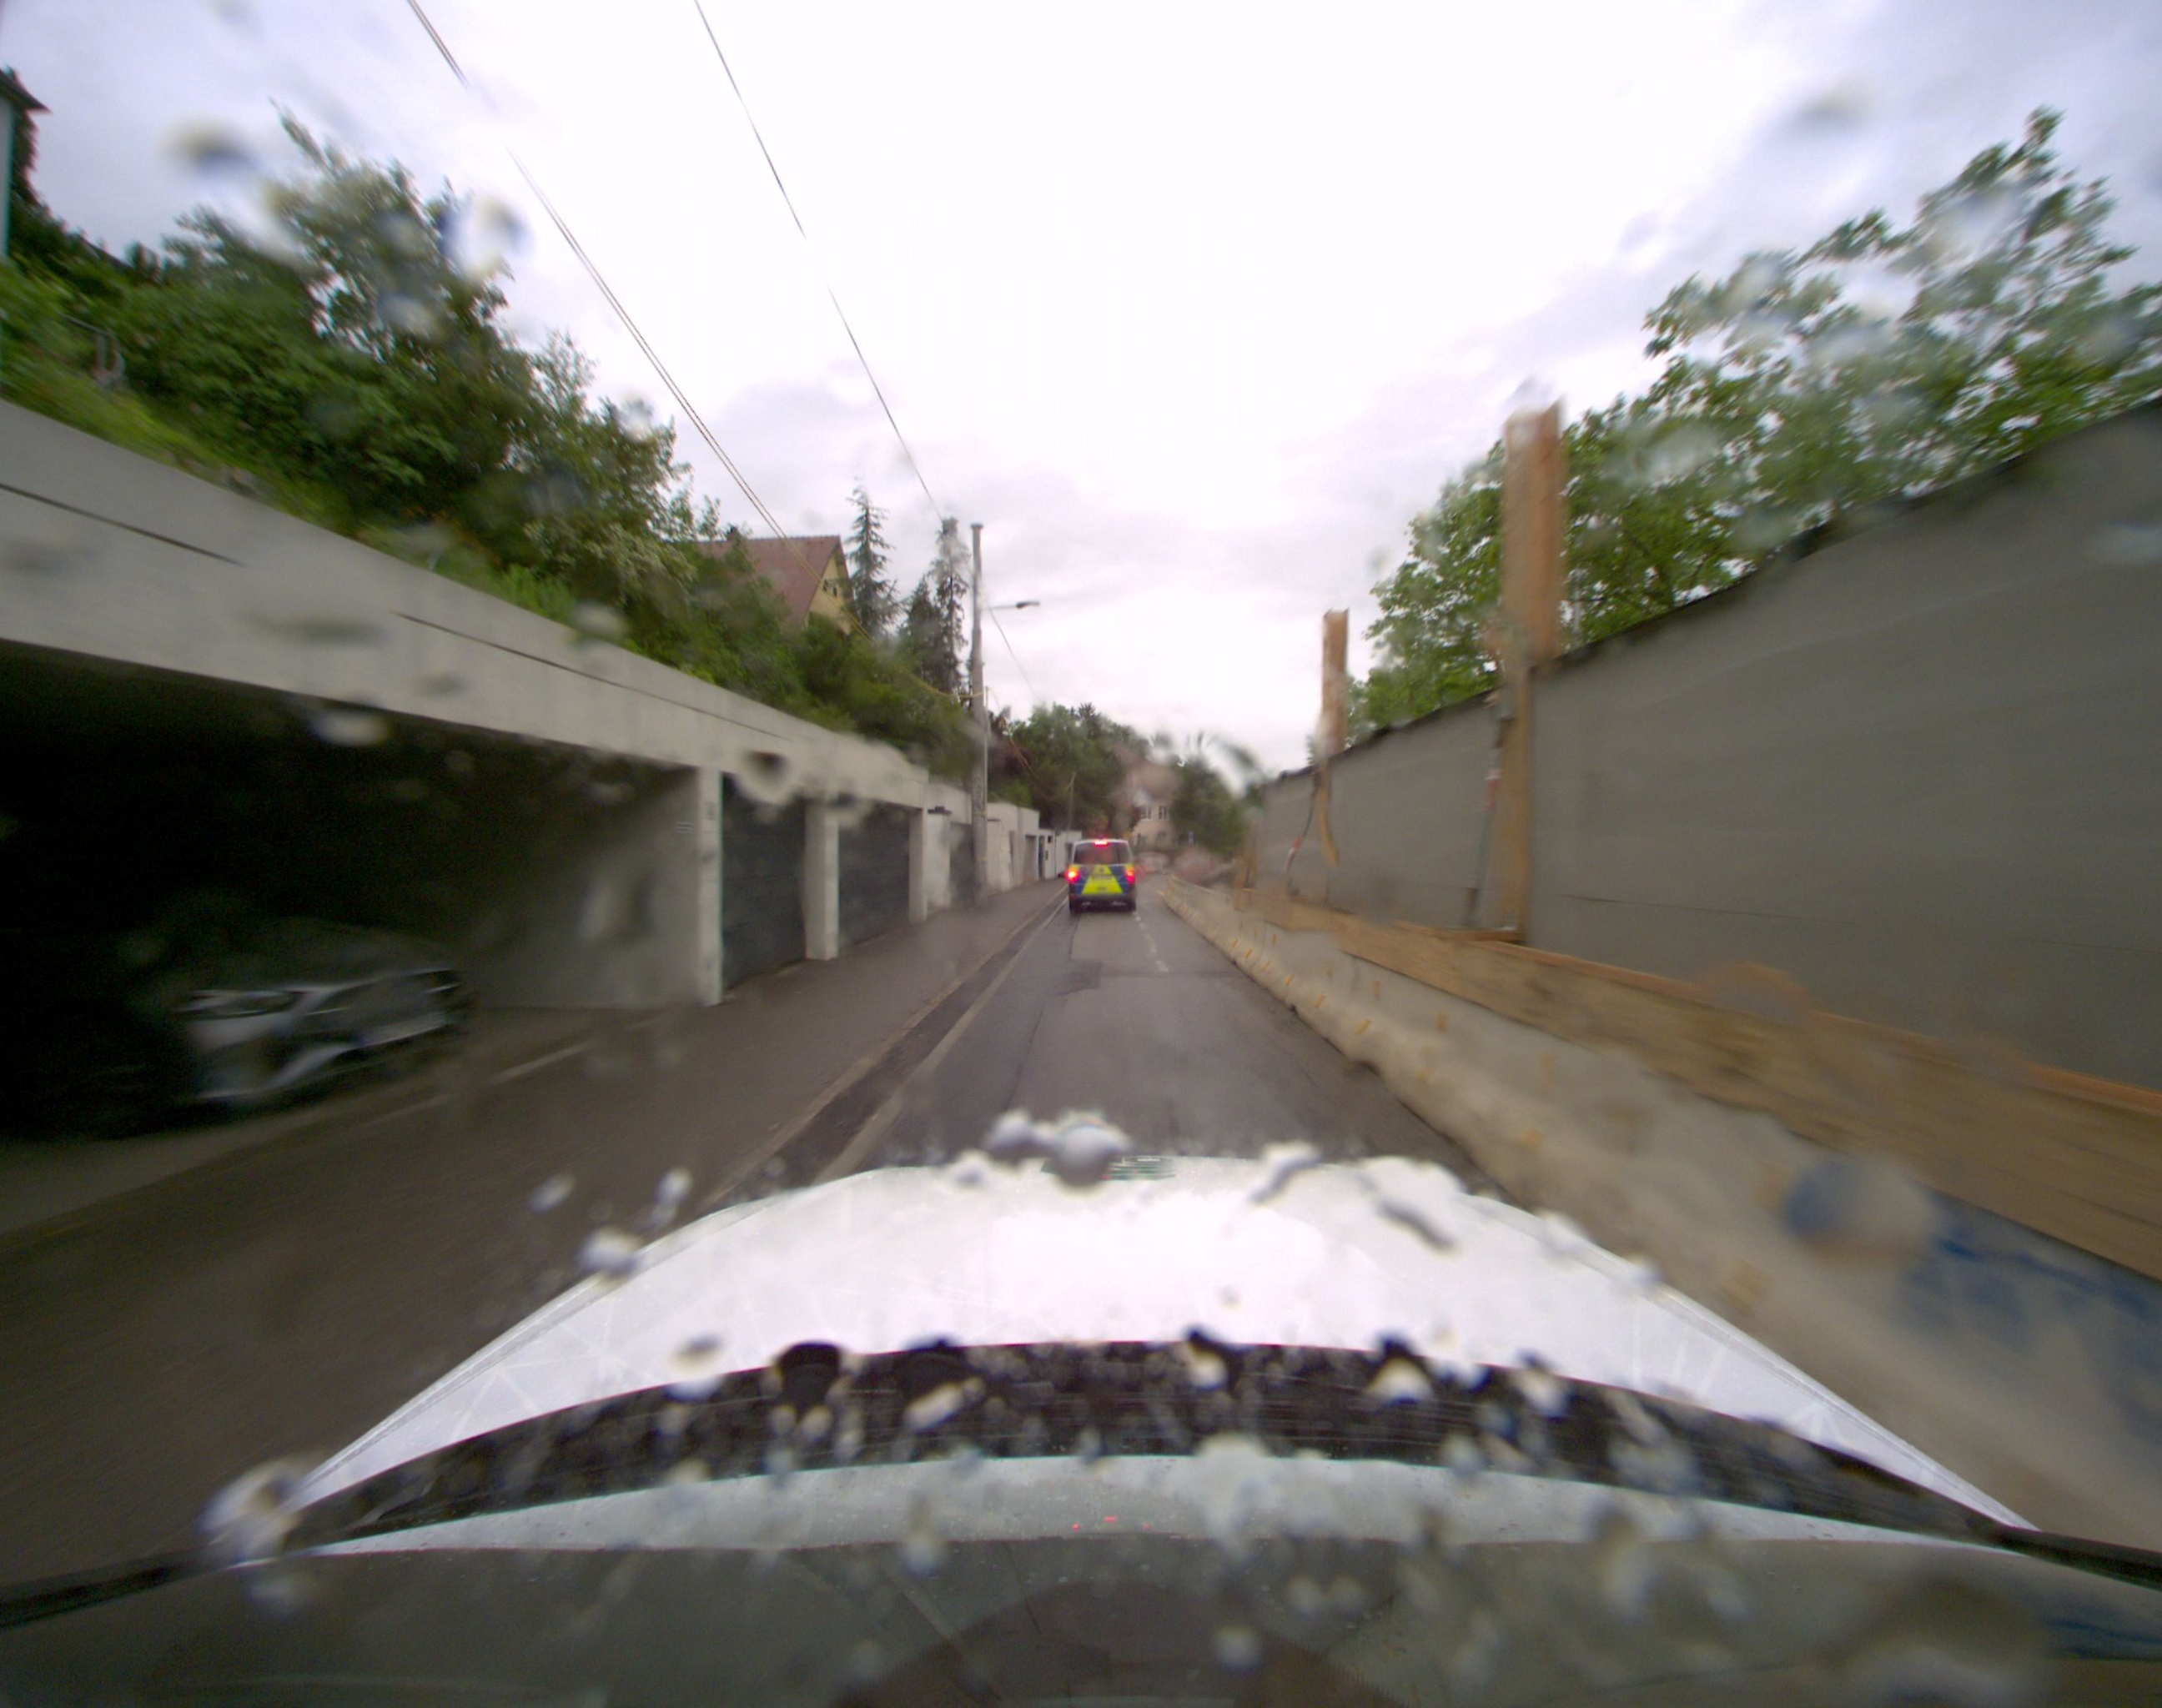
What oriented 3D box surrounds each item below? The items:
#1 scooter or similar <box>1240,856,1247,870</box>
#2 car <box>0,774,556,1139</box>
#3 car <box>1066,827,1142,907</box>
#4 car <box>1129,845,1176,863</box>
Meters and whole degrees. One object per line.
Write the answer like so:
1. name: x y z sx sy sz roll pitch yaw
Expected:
1. scooter or similar: 14.641 0.804 73.544 0.462 1.187 1.026 2 -1 3
2. car: -6.140 0.449 4.982 4.386 1.706 2.111 2 -1 0
3. car: 0.686 0.373 23.375 1.901 2.010 4.441 2 -1 2
4. car: 6.626 0.018 75.393 3.949 1.517 1.738 2 -1 32
